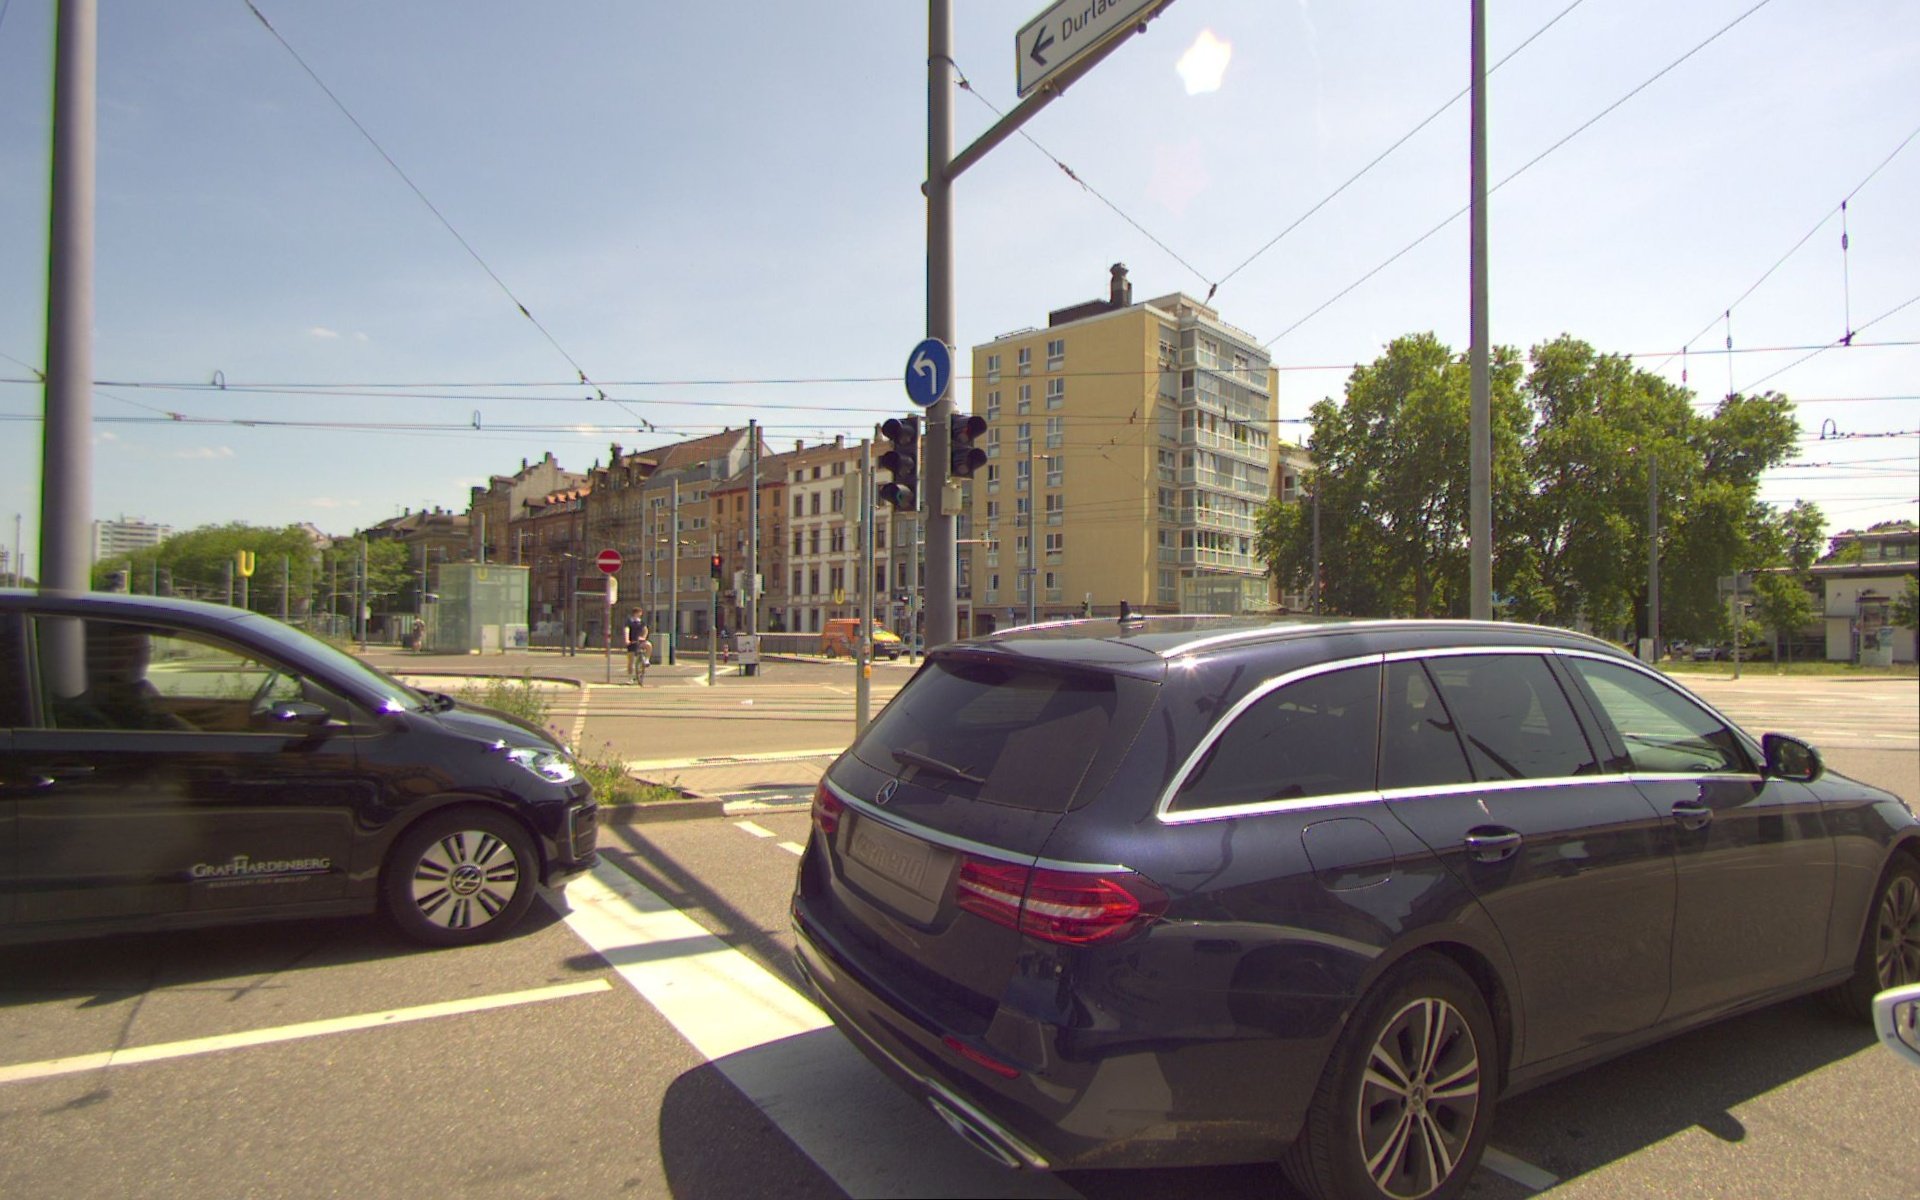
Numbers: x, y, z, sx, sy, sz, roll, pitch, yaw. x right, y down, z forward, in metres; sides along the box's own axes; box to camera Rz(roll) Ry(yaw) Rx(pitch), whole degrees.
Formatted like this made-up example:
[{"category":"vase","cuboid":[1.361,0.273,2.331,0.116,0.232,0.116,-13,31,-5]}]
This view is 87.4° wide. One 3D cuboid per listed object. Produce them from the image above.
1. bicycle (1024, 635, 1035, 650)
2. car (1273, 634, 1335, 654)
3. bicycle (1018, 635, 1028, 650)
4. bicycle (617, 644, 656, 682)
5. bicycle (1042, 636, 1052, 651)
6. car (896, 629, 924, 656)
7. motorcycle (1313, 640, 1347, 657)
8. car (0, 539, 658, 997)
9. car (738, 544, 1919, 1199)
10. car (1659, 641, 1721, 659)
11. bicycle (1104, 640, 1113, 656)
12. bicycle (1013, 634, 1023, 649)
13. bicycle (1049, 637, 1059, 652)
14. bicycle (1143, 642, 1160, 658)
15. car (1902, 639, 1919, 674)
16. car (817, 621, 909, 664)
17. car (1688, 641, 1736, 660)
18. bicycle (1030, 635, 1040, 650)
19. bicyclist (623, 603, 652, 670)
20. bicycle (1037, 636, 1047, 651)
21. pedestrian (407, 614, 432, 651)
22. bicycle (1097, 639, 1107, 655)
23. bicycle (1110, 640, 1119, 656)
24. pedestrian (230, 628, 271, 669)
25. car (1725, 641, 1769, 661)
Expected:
[{"category":"bicycle","cuboid":[4.948,3.024,71.450,0.424,1.040,1.445,0,-2,16]},{"category":"car","cuboid":[25.502,3.234,74.435,3.935,1.439,1.993,-1,-2,36]},{"category":"bicycle","cuboid":[4.518,3.011,71.883,0.424,1.040,1.445,0,-2,16]},{"category":"bicycle","cuboid":[-7.827,1.501,24.251,0.620,0.866,1.887,1,-2,-26]},{"category":"bicycle","cuboid":[6.075,3.059,70.457,0.424,1.040,1.445,0,-2,16]},{"category":"car","cuboid":[-3.451,2.844,68.337,1.803,1.773,3.998,1,-2,-4]},{"category":"motorcycle","cuboid":[22.840,2.991,62.053,1.886,0.974,0.525,0,-2,30]},{"category":"car","cuboid":[-3.409,0.614,4.470,3.691,1.597,1.737,2,-2,-28]},{"category":"car","cuboid":[1.776,0.795,3.677,4.745,1.662,1.790,2,0,-28]},{"category":"car","cuboid":[66.557,4.516,91.671,4.245,1.530,1.771,0,-2,25]},{"category":"bicycle","cuboid":[9.851,3.173,66.742,0.424,1.040,1.445,0,-2,16]},{"category":"bicycle","cuboid":[4.173,3.000,72.219,0.424,1.040,1.445,0,-2,16]},{"category":"bicycle","cuboid":[6.594,3.078,70.202,0.424,1.040,1.445,0,-2,16]},{"category":"bicycle","cuboid":[12.638,3.284,66.231,0.427,1.040,1.435,-1,-2,43]},{"category":"car","cuboid":[43.460,2.458,43.339,4.768,1.484,1.993,1,-2,-17]},{"category":"car","cuboid":[-5.000,2.147,51.431,4.801,2.084,1.990,-1,-2,42]},{"category":"car","cuboid":[63.937,4.286,85.371,4.275,1.530,1.759,2,-2,-30]},{"category":"bicycle","cuboid":[5.312,3.035,71.144,0.424,1.040,1.445,0,-2,16]},{"category":"bicyclist","cuboid":[-7.807,0.864,24.303,0.433,1.549,1.245,2,0,-27]},{"category":"bicycle","cuboid":[5.756,3.050,70.851,0.424,1.040,1.445,0,-2,16]},{"category":"pedestrian","cuboid":[-27.019,1.627,50.184,1.114,1.837,0.677,-1,-2,37]},{"category":"bicycle","cuboid":[9.474,3.161,67.050,0.424,1.040,1.445,0,-2,16]},{"category":"bicycle","cuboid":[10.222,3.186,66.480,0.424,1.040,1.445,0,-2,16]},{"category":"pedestrian","cuboid":[-23.744,1.605,33.632,0.978,1.352,0.527,1,-1,2]},{"category":"car","cuboid":[64.941,4.188,82.875,4.284,1.530,1.755,2,-2,-35]}]
